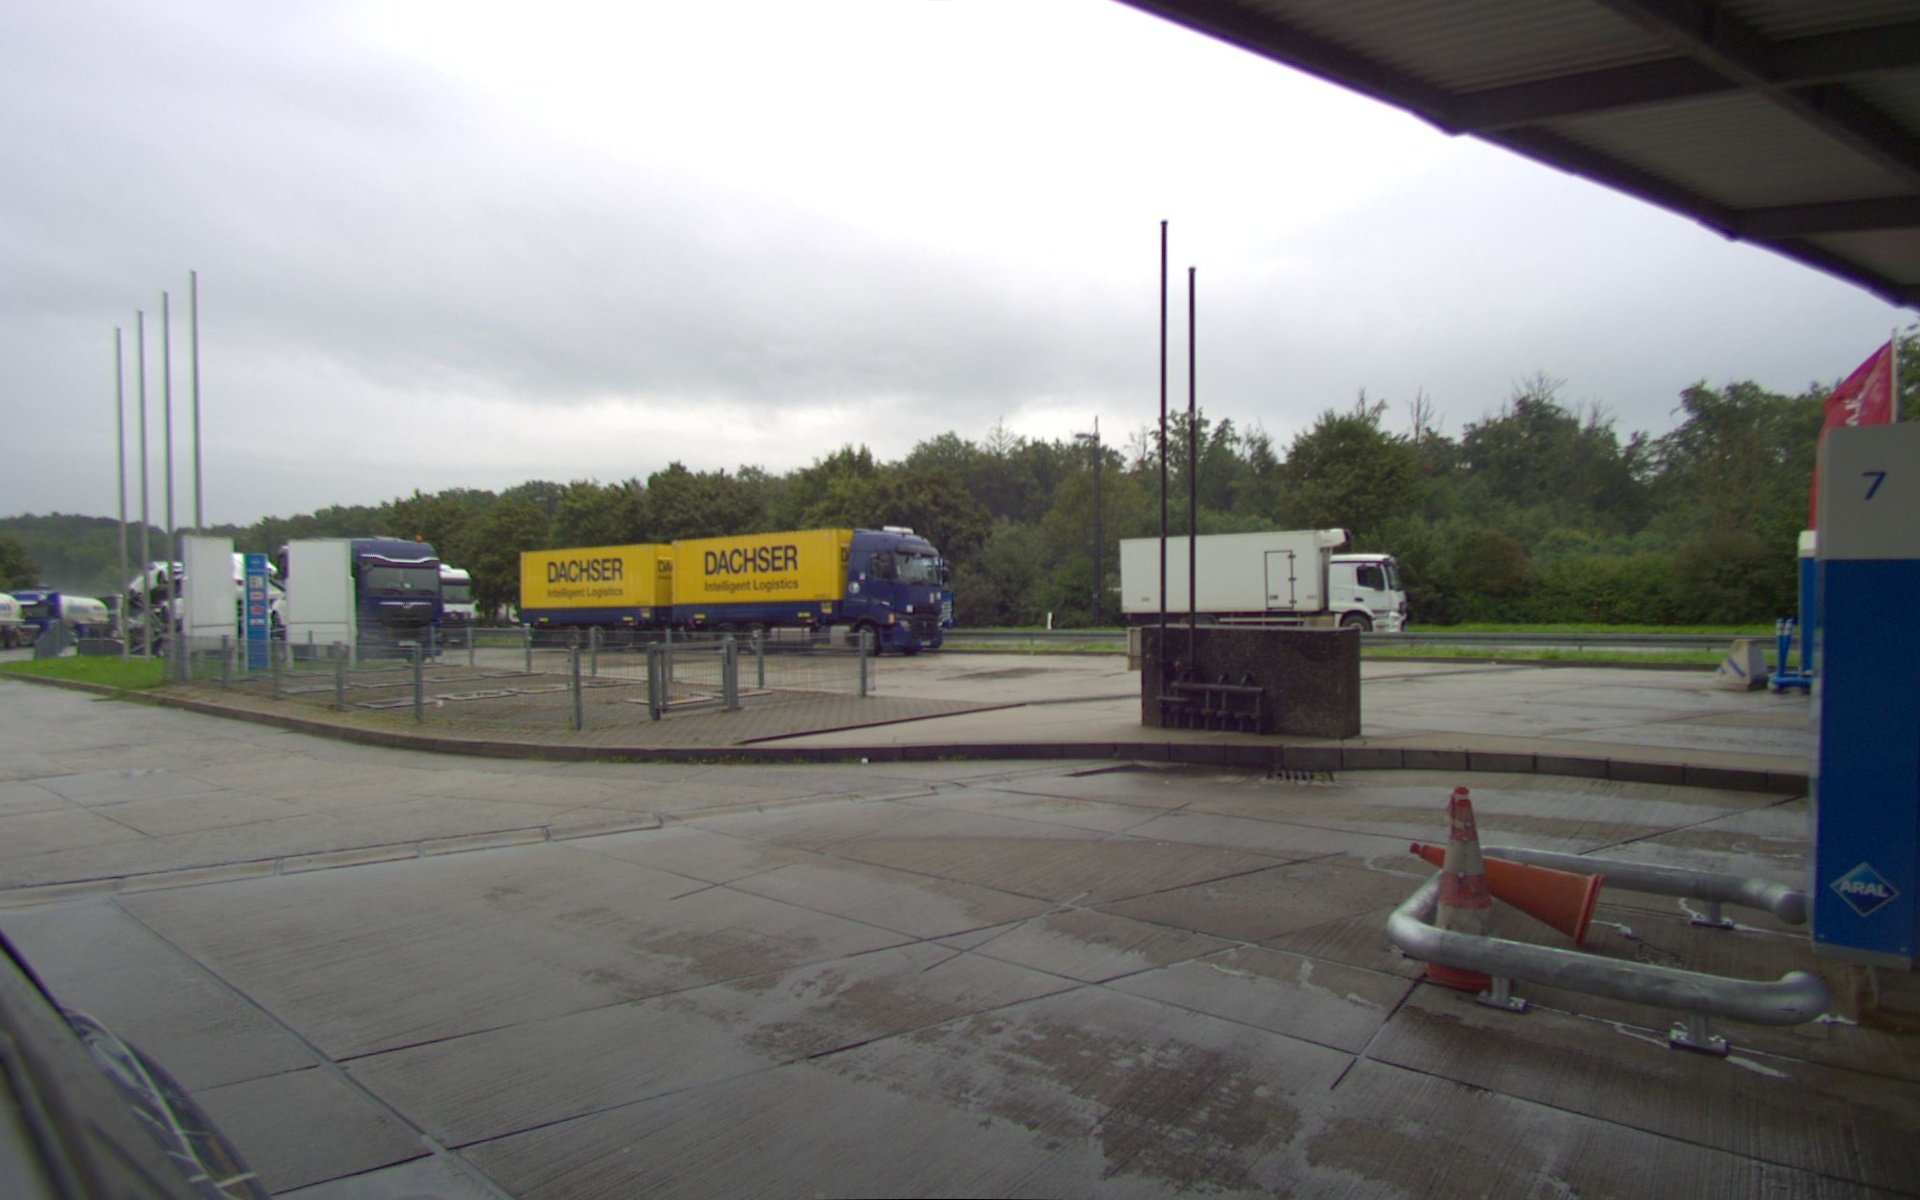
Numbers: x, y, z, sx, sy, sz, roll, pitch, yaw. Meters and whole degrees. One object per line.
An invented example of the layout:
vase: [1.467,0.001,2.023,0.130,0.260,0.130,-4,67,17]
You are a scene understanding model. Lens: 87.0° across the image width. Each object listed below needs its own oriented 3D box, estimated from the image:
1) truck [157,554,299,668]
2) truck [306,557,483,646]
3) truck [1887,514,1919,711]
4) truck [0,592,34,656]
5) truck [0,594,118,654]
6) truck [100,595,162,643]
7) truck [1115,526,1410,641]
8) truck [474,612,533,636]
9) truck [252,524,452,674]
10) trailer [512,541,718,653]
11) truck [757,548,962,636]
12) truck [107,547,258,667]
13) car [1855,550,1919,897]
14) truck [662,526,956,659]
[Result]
truck: [-26.109,0.396,36.073,4.738,3.800,2.635,-1,0,34]
truck: [-27.321,0.106,48.627,10.654,3.946,2.727,-1,0,33]
truck: [14.992,0.128,11.956,5.859,2.513,2.208,-1,0,41]
truck: [-55.159,1.338,53.686,3.454,3.633,14.444,-1,-1,-19]
truck: [-61.498,1.622,68.653,3.454,3.633,14.709,-1,-1,-27]
truck: [-77.163,1.738,94.058,11.524,4.160,3.101,-1,0,44]
truck: [10.967,-0.512,37.450,10.195,3.836,2.395,-1,0,31]
truck: [-42.882,2.238,94.993,5.810,2.140,2.061,-1,0,31]
truck: [-19.011,0.012,31.477,7.089,4.213,2.635,-1,0,35]
trailer: [-13.501,-0.071,39.258,8.679,3.946,2.728,-1,0,32]
truck: [-4.881,-0.309,47.644,10.195,3.836,2.395,-1,0,31]
truck: [-29.591,0.300,38.446,6.605,4.213,2.635,-1,0,35]
car: [6.910,0.544,3.801,5.269,1.620,1.842,-1,0,41]
truck: [-5.339,-0.175,34.029,10.654,3.946,2.727,-1,0,33]
